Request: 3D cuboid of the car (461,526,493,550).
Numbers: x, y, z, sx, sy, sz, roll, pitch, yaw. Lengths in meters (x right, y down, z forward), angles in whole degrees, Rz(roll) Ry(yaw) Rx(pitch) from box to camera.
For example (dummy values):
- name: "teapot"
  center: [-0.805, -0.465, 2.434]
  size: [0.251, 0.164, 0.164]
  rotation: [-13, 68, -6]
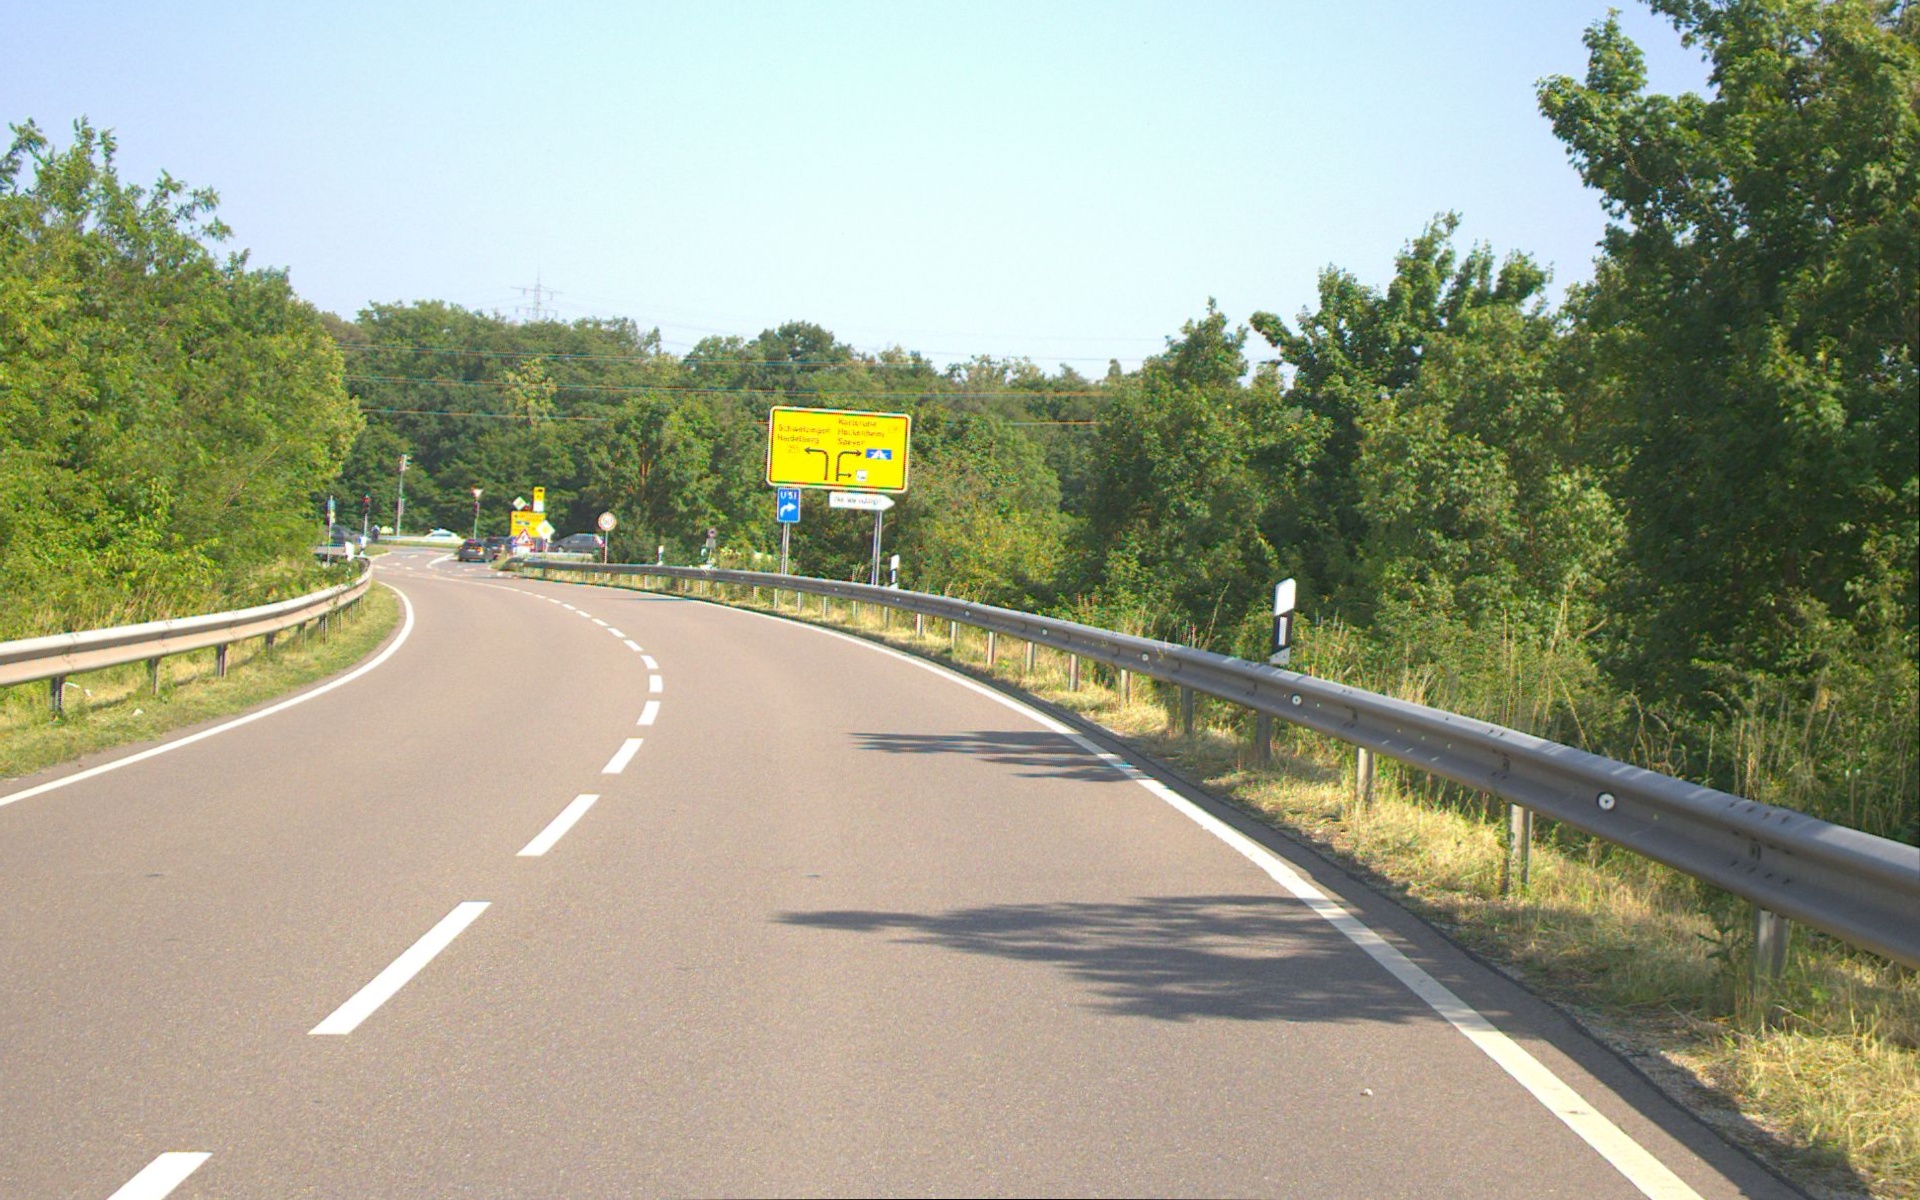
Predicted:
- name: "car"
  center: [-31.697, -4.081, 225.670]
  size: [1.799, 1.393, 4.001]
  rotation: [-5, 2, -6]
